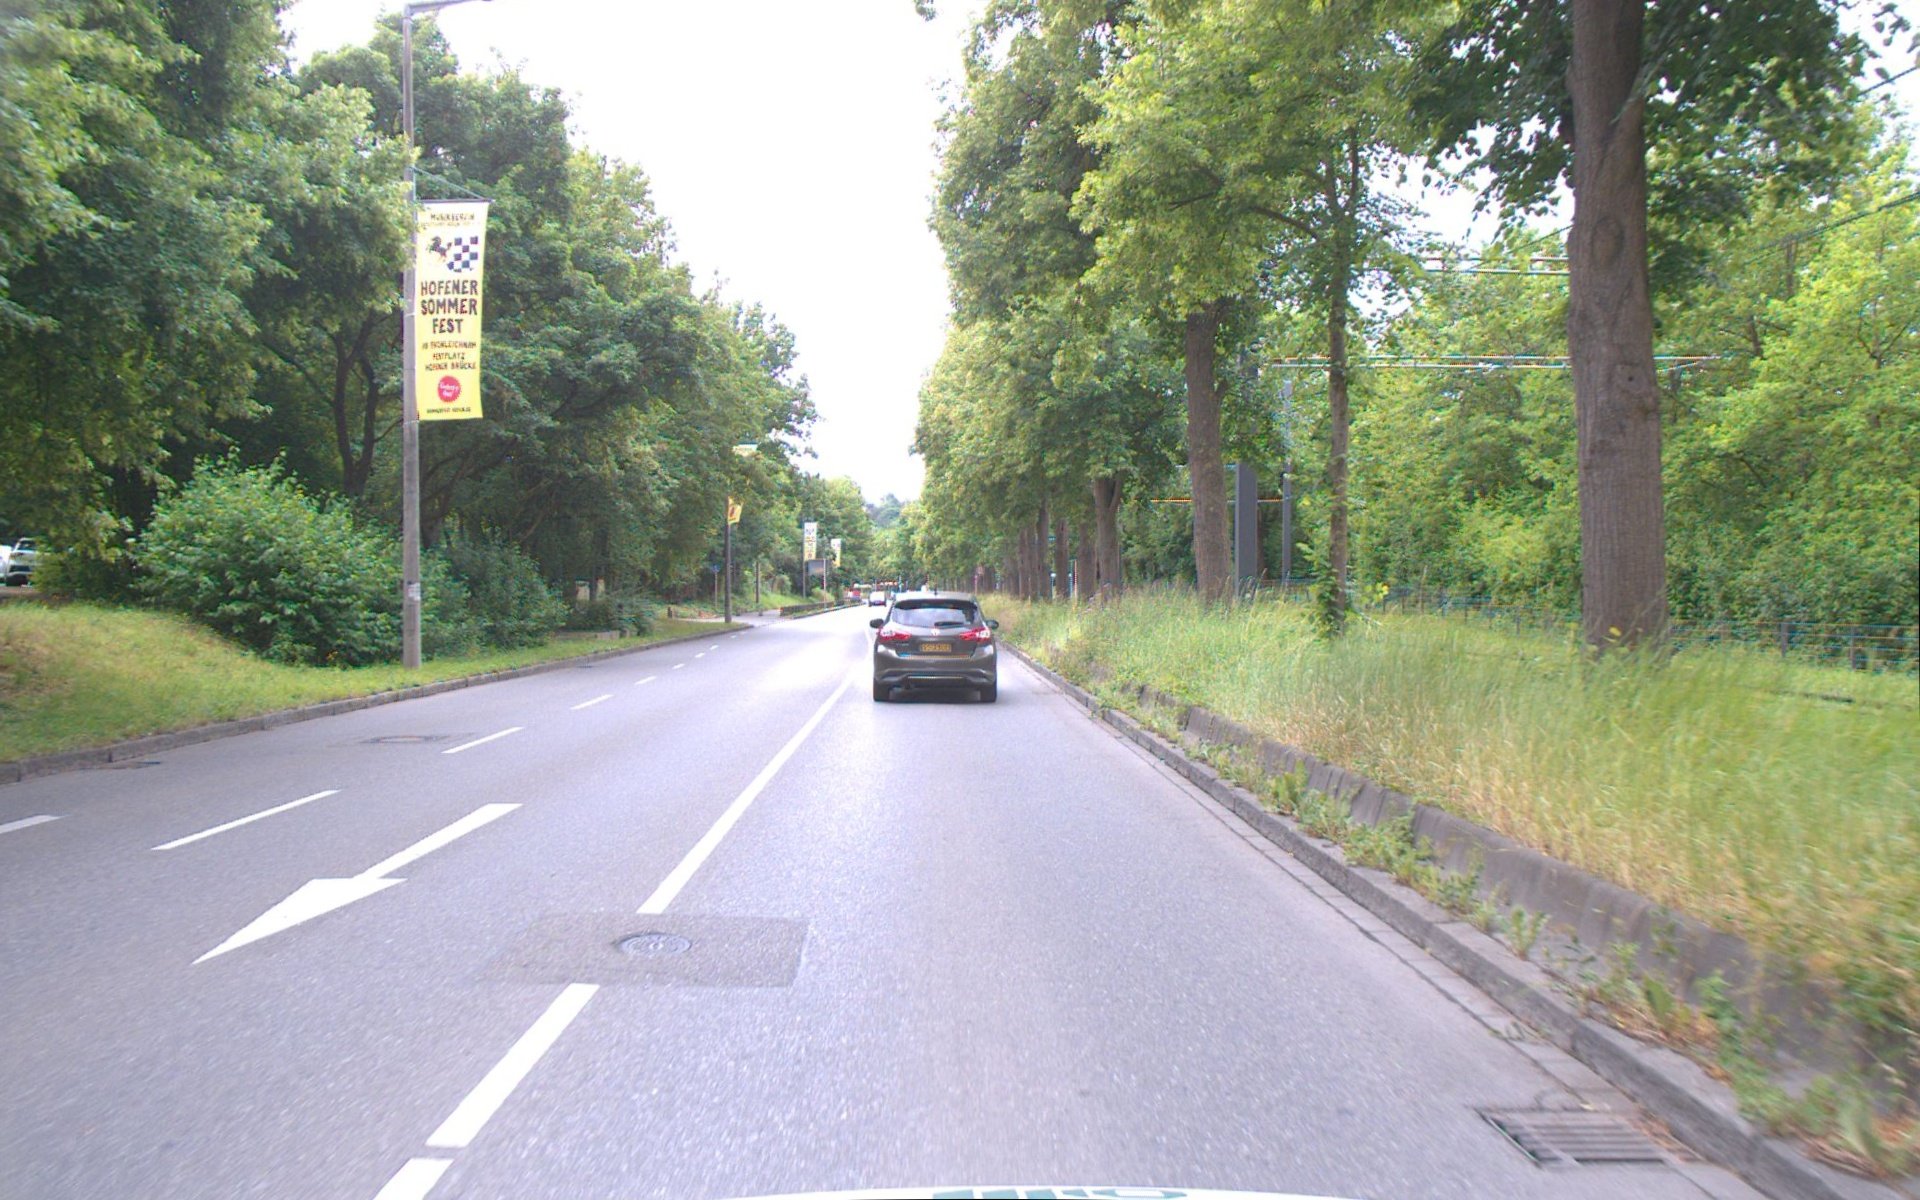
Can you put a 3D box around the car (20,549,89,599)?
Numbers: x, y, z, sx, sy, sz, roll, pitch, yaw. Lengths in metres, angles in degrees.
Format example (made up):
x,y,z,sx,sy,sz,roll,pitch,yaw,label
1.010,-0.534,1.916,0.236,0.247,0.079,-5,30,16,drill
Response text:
x,y,z,sx,sy,sz,roll,pitch,yaw,label
-28.971,-0.824,53.005,1.625,1.512,3.969,1,0,-25,car

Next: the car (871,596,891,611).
x,y,z,sx,sy,sz,roll,pitch,yaw,label
-7.753,0.337,162.699,1.681,1.453,4.197,-2,0,1,car

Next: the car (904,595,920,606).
x,y,z,sx,sy,sz,roll,pitch,yaw,label
-6.875,0.057,237.619,1.535,1.466,3.539,1,0,-14,car

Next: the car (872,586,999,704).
x,y,z,sx,sy,sz,roll,pitch,yaw,label
-0.383,0.611,24.119,1.695,1.564,3.550,1,0,-2,car

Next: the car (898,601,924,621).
x,y,z,sx,sy,sz,roll,pitch,yaw,label
-3.757,0.842,127.010,1.528,1.466,3.554,1,0,6,car

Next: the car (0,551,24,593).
x,y,z,sx,sy,sz,roll,pitch,yaw,label
-35.762,-1.022,61.149,1.625,1.512,3.969,1,0,-25,car
